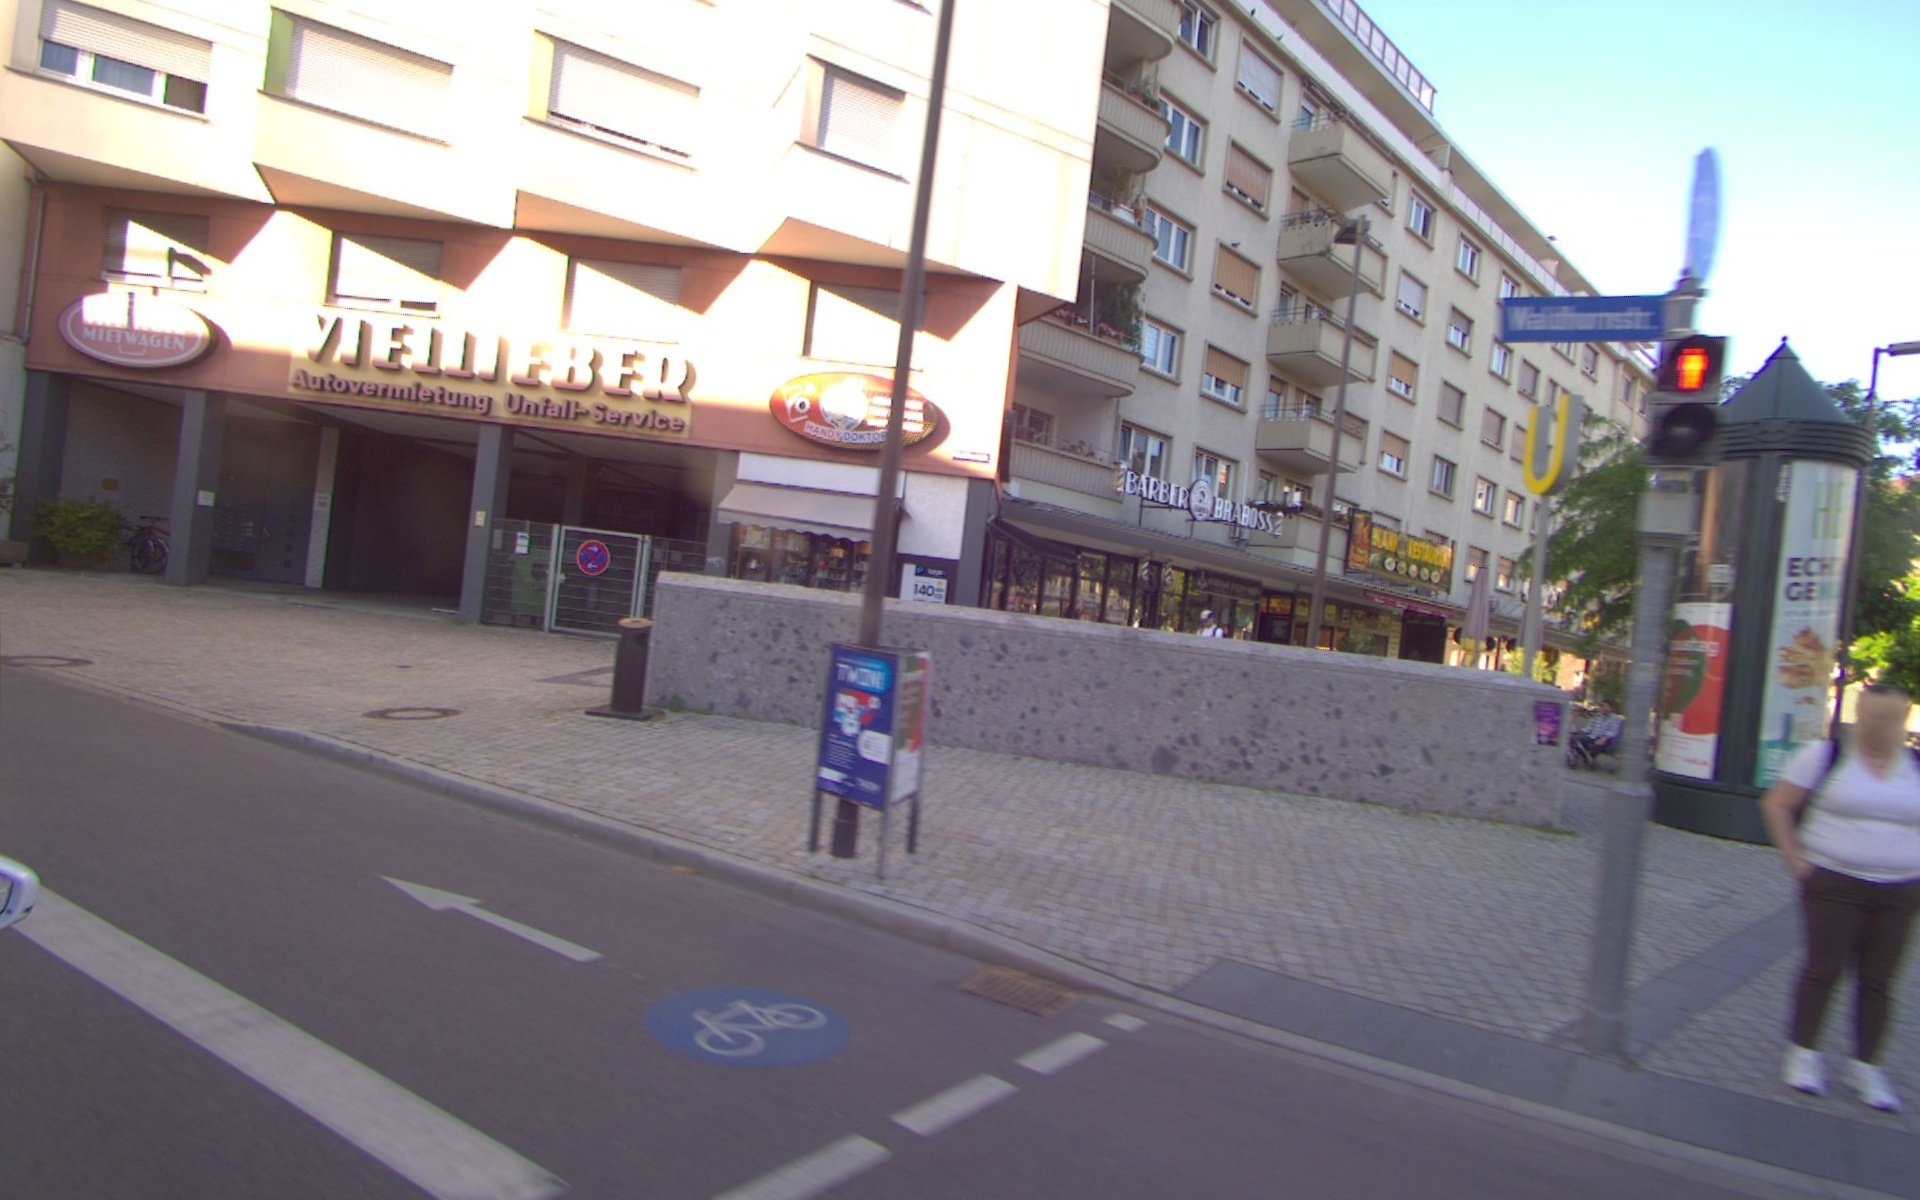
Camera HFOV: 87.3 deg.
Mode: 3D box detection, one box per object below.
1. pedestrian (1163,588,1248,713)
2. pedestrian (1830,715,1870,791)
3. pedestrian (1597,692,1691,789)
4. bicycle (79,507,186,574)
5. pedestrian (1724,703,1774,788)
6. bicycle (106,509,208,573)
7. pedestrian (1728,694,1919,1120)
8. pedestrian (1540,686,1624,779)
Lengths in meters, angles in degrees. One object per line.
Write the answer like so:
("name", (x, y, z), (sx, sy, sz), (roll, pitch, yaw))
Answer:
("pedestrian", (4.001, 0.827, 16.395), (1.037, 1.889, 0.680), (7, 0, -40))
("pedestrian", (20.855, 3.573, 23.566), (0.473, 1.691, 0.501), (6, 0, -39))
("pedestrian", (11.427, 2.332, 16.830), (0.709, 1.437, 0.927), (7, 0, -10))
("bicycle", (-16.129, -1.156, 19.625), (1.608, 1.051, 0.496), (8, 0, 3))
("pedestrian", (17.569, 3.221, 22.420), (0.707, 1.767, 0.680), (7, 0, 38))
("bicycle", (-16.330, -1.189, 20.472), (1.608, 1.051, 0.496), (8, 0, 3))
("pedestrian", (3.796, 1.244, 4.229), (0.546, 1.603, 0.541), (7, 0, 6))
("pedestrian", (11.084, 2.347, 17.950), (0.708, 1.463, 0.928), (7, 0, -5))
